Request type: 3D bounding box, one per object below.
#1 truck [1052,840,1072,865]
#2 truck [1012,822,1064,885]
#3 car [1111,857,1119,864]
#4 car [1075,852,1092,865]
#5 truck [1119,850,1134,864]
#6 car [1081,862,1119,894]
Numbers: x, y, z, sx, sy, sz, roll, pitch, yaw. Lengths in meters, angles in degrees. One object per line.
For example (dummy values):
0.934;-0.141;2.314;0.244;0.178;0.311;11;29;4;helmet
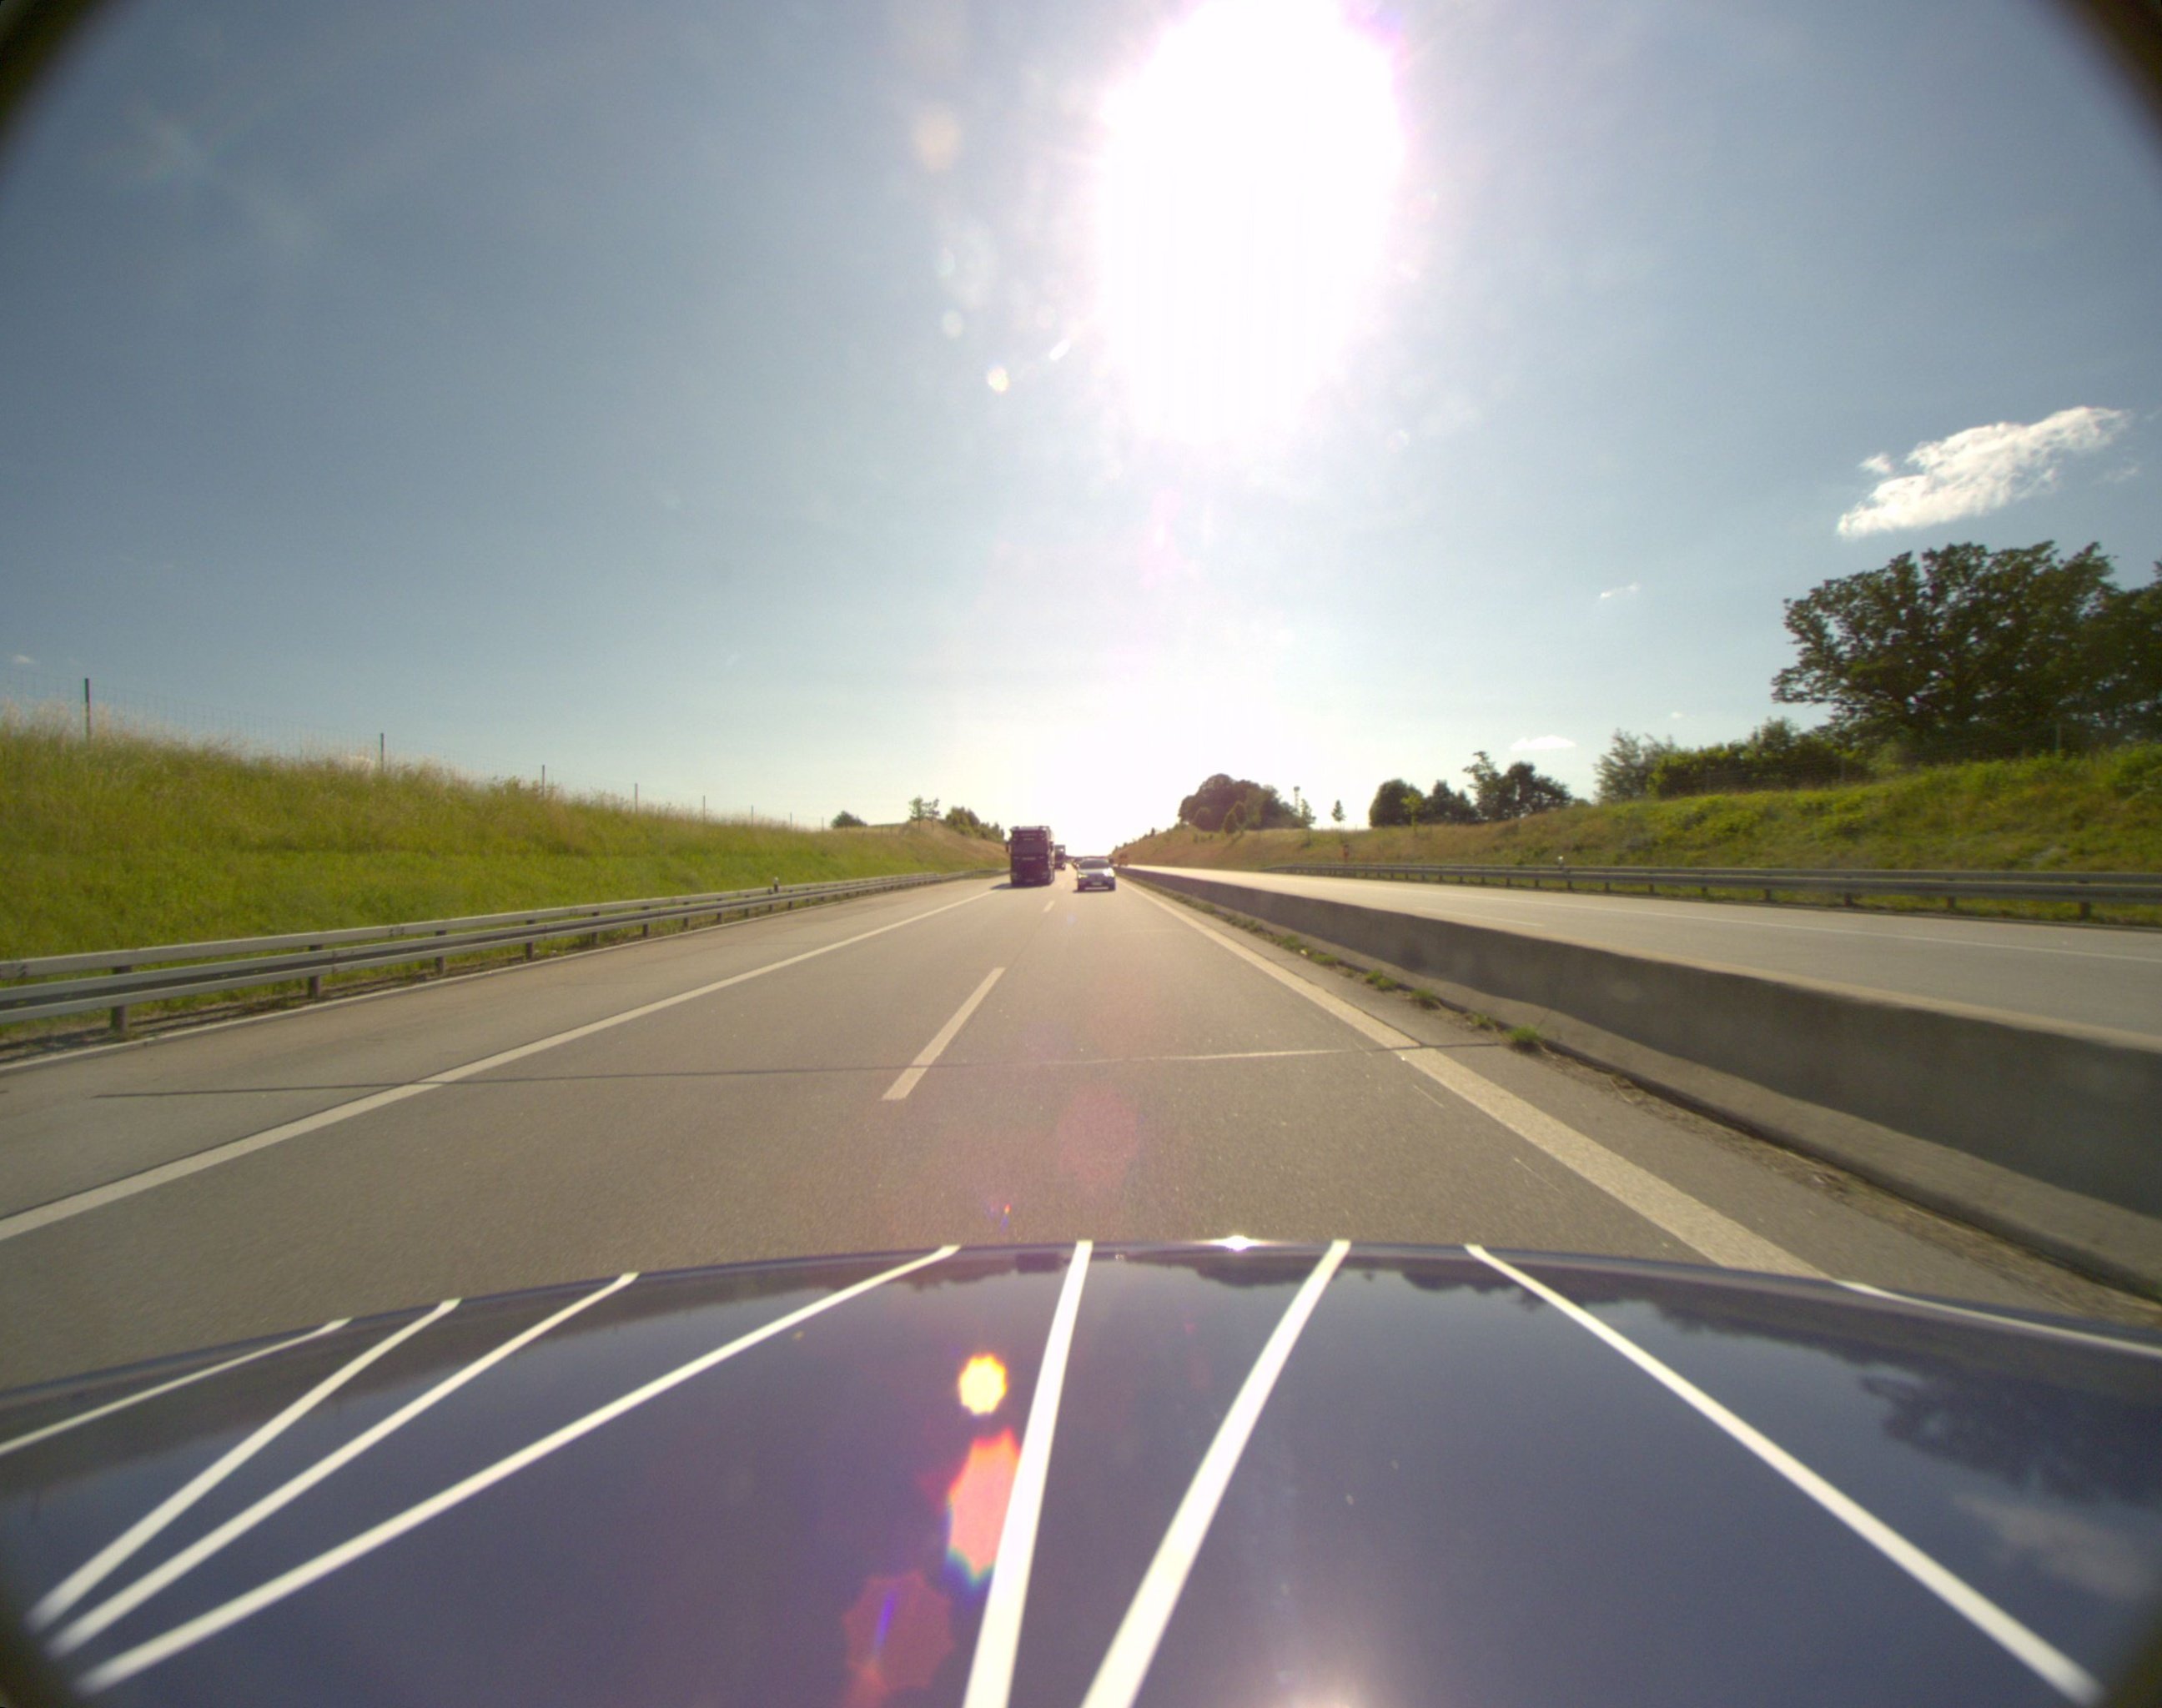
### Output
-3.014;-0.201;121.175;3.025;3.795;13.402;1;0;-1;truck
-2.799;0.000;53.314;2.623;3.795;13.404;-1;0;1;truck
10.507;2.085;233.596;1.999;2.002;4.970;-2;0;0;car
0.423;0.741;131.853;2.816;2.143;5.947;1;0;-1;car
10.230;0.721;172.054;2.781;3.003;6.792;-1;0;0;truck
0.961;1.153;37.570;1.795;1.501;3.636;-1;0;2;car
